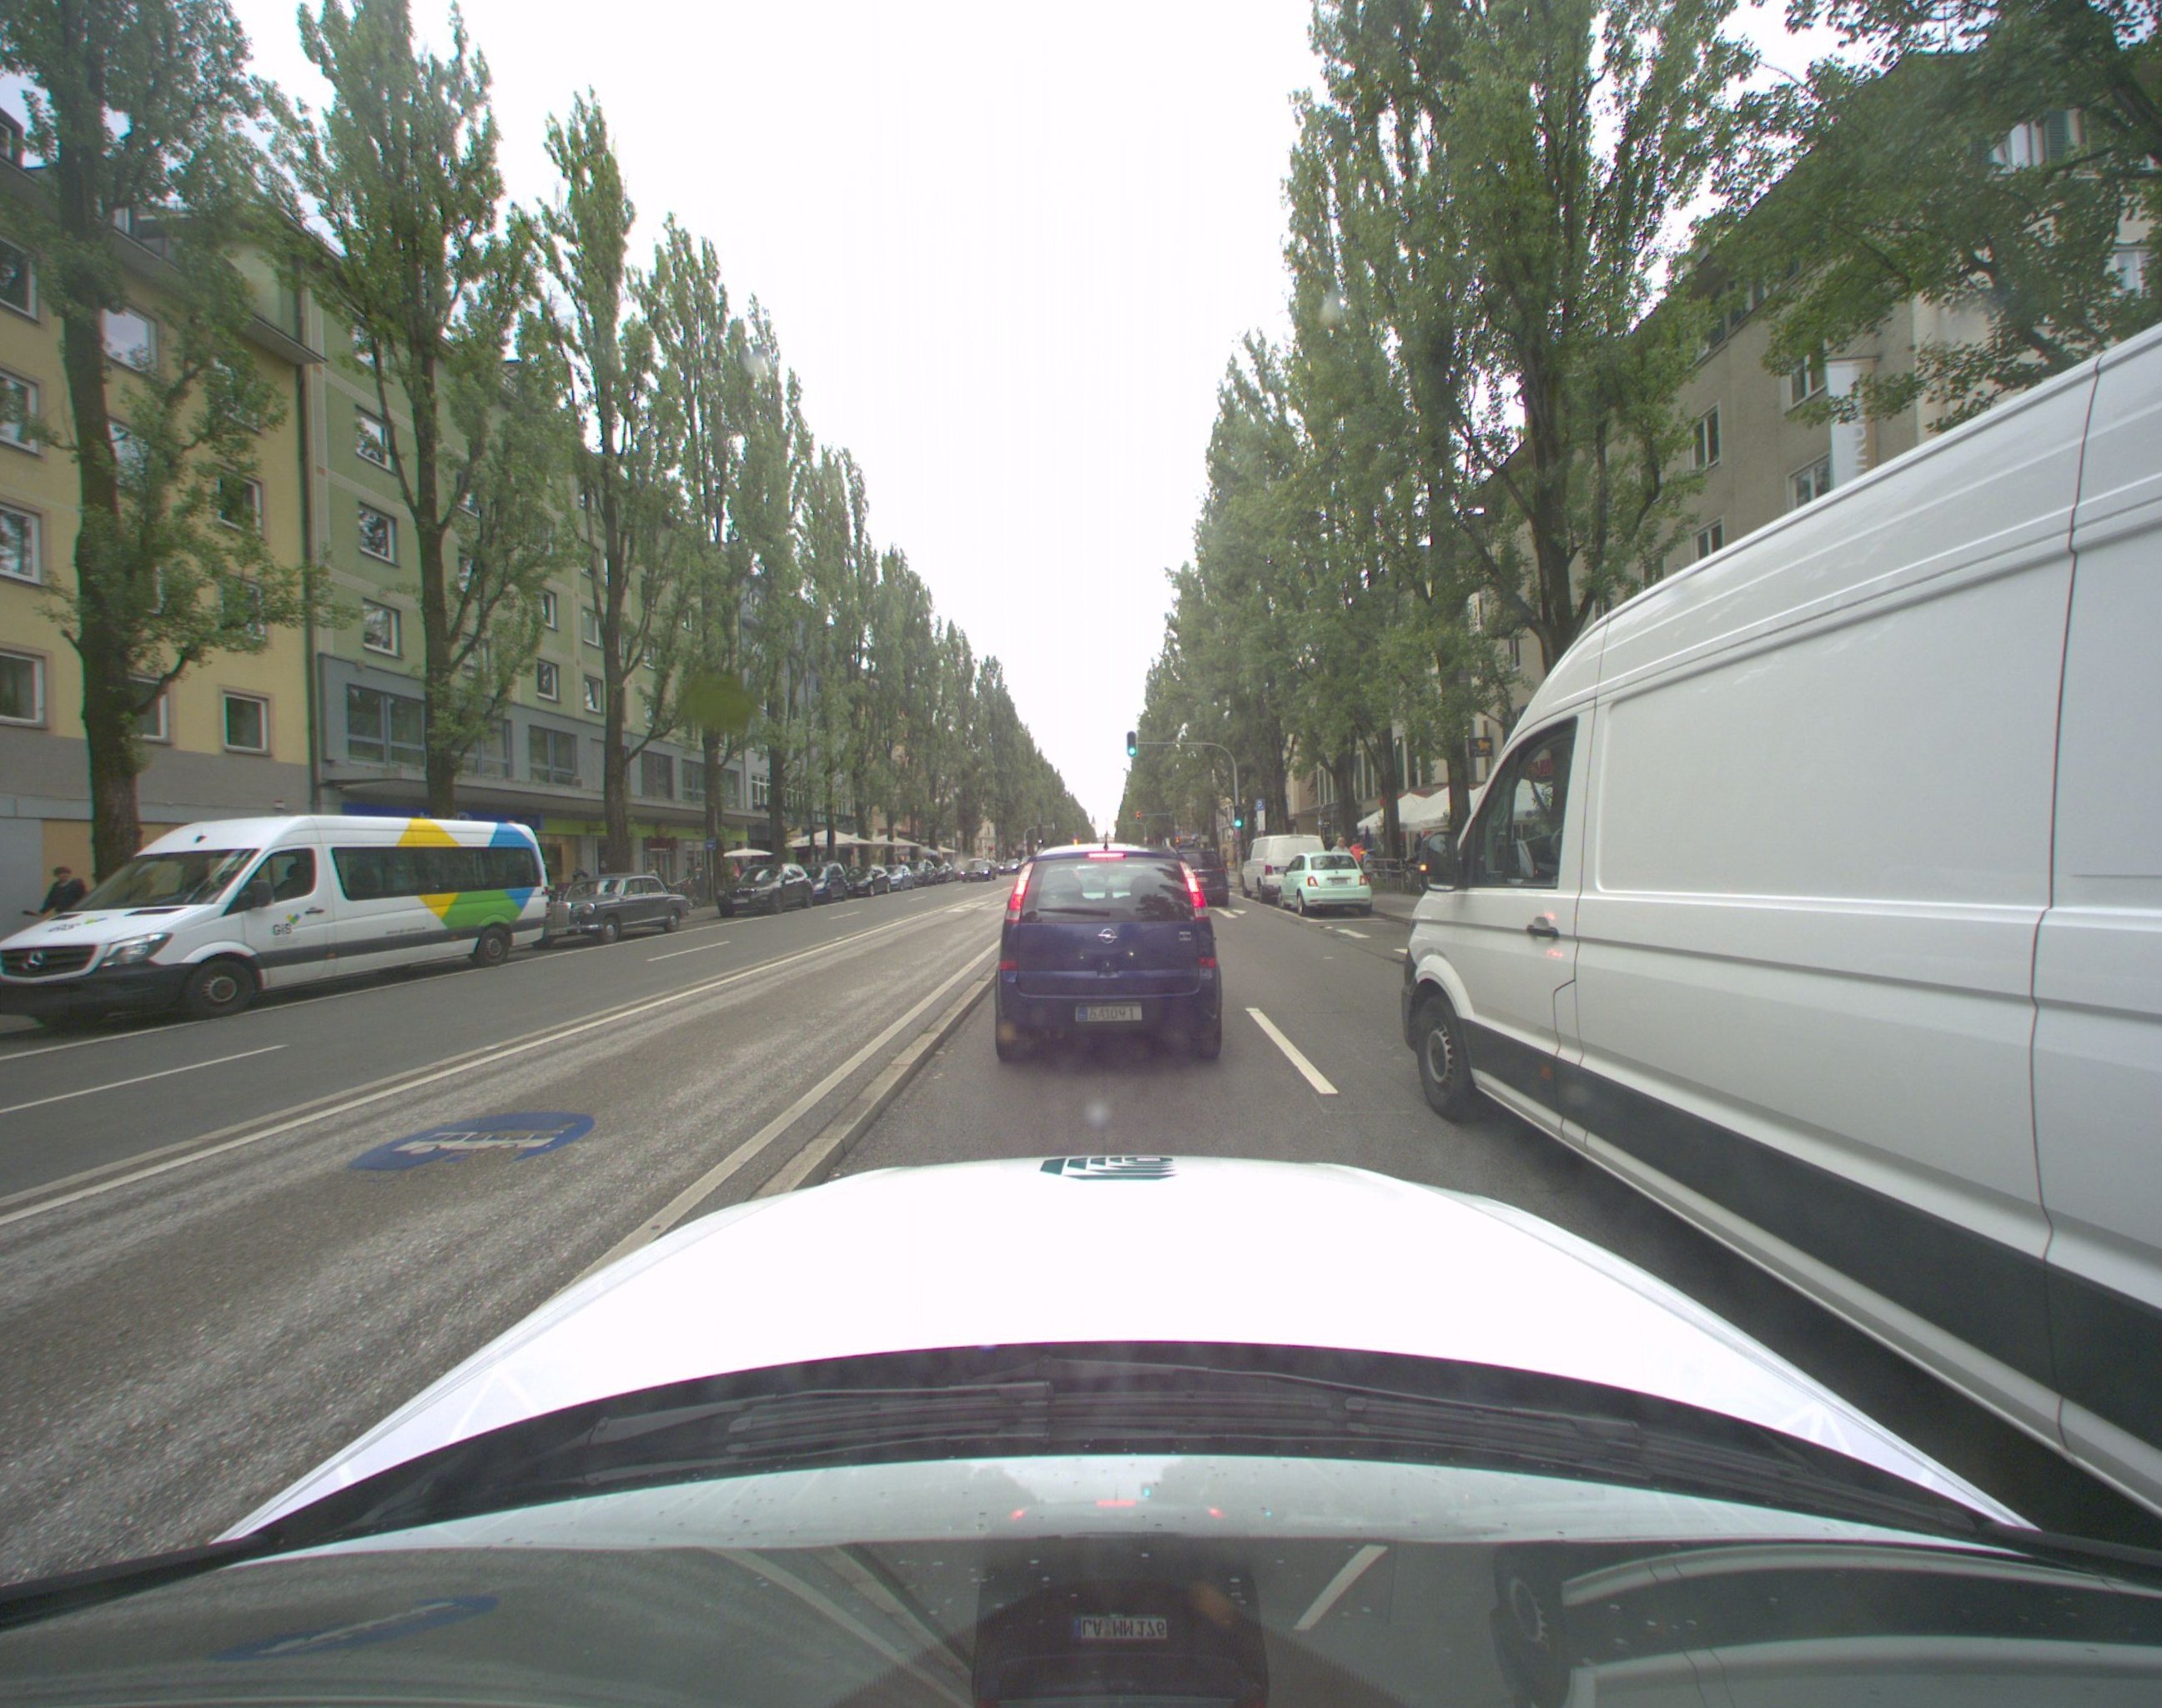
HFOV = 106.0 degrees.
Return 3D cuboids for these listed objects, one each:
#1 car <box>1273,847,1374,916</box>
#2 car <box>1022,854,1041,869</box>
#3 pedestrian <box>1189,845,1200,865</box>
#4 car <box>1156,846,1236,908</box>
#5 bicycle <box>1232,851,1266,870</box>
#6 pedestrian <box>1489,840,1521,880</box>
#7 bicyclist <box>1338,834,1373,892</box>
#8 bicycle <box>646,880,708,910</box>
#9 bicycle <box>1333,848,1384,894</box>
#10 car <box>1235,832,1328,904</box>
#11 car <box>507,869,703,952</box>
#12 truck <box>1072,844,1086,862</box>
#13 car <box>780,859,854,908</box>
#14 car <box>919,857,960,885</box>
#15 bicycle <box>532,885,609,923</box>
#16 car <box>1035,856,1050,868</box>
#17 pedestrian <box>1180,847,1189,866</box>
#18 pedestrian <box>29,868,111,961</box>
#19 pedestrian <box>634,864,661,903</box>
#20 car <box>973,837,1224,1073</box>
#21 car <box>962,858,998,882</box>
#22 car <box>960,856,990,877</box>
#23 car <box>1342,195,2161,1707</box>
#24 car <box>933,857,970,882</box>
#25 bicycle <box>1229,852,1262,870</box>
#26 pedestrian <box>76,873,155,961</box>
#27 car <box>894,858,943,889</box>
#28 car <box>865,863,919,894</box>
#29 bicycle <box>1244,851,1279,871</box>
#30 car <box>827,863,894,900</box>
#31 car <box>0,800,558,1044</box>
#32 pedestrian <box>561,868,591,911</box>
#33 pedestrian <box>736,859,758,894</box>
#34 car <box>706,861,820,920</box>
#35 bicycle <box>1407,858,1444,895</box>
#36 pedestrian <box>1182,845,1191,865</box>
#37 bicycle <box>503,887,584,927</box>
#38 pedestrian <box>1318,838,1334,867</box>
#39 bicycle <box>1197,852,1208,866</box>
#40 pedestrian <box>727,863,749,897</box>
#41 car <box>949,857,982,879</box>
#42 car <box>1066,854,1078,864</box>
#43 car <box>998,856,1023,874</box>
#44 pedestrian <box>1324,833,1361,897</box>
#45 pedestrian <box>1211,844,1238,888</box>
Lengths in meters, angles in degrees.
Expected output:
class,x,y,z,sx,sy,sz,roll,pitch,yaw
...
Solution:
class,x,y,z,sx,sy,sz,roll,pitch,yaw
car,5.801,0.620,19.884,1.535,1.492,3.525,-1,0,2
car,-5.607,0.829,92.126,1.764,1.635,4.456,-3,0,1
pedestrian,10.363,0.129,74.354,0.719,1.827,0.885,0,-1,-8
car,3.274,0.612,23.948,1.889,1.622,4.002,-1,0,2
bicycle,11.902,0.470,57.732,2.220,1.204,0.626,-3,0,-1
pedestrian,14.361,0.197,27.574,0.636,1.324,0.800,-2,0,1
bicyclist,8.668,0.276,25.727,0.764,1.766,0.885,-2,0,1
bicycle,-15.204,1.541,30.670,1.943,1.095,0.718,0,0,-5
bicycle,8.674,0.514,25.566,0.769,1.349,2.450,-2,0,1
car,6.014,0.381,24.959,1.781,1.946,4.732,-2,0,2
car,-11.081,1.242,19.412,1.859,1.552,4.416,-4,0,2
truck,-0.313,-0.230,155.312,2.374,3.346,7.114,-2,0,2
car,-10.657,1.144,33.142,1.704,1.721,3.920,-4,0,-1
car,-9.677,1.140,56.065,1.859,1.665,4.122,-4,0,2
bicycle,-15.261,1.490,24.367,1.860,1.095,0.720,0,0,4
car,-5.717,1.231,121.677,1.859,1.665,4.122,-2,0,2
pedestrian,9.991,0.199,78.571,0.636,1.827,0.885,0,-1,-8
pedestrian,-20.561,1.213,16.576,0.694,1.795,0.728,-3,0,6
pedestrian,-18.956,1.286,35.603,0.753,1.686,0.675,-3,-1,3
car,0.188,0.683,7.513,1.665,1.568,4.002,-1,0,2
car,-6.913,1.047,56.206,1.691,1.462,4.715,-4,0,2
car,-9.262,1.094,71.699,1.859,1.665,4.122,-4,0,2
car,2.743,0.215,2.279,2.055,2.492,6.733,-1,0,2
car,-9.641,1.136,60.913,1.859,1.665,4.122,-4,0,2
bicycle,11.921,0.475,59.111,2.220,1.204,0.626,-3,0,-1
pedestrian,-19.575,1.257,16.527,0.694,1.700,0.728,-3,0,6
car,-9.858,1.142,49.780,1.859,1.665,4.402,-4,0,2
car,-10.119,1.276,43.961,1.727,1.425,4.145,-4,0,2
bicycle,12.139,0.454,54.812,2.220,1.204,0.626,-3,0,-1
car,-10.329,1.235,38.479,1.792,1.488,4.352,-4,0,2
car,-11.301,0.750,12.314,1.998,2.567,6.915,-4,0,2
pedestrian,-20.171,1.416,32.533,0.670,1.686,0.759,-3,-1,3
pedestrian,-16.732,1.118,40.823,0.753,1.686,0.675,-3,-1,3
car,-10.663,1.164,27.716,1.859,1.664,4.613,-4,0,2
bicycle,9.854,0.629,23.361,0.348,0.996,1.453,-3,-1,-2
pedestrian,9.589,0.123,74.183,0.636,1.827,0.885,0,-1,-8
bicycle,-15.268,1.494,23.149,1.860,1.095,0.720,0,0,4
pedestrian,14.848,-0.090,49.349,0.671,1.686,0.758,-3,-1,-3
bicycle,12.188,0.502,81.486,0.769,1.349,2.450,-2,0,1
pedestrian,-17.653,1.325,41.867,0.753,1.686,0.675,-3,-1,3
car,-9.361,1.112,66.437,1.859,1.665,4.122,-4,0,2
car,-1.350,0.760,125.640,1.728,1.465,3.366,-2,0,2
car,-6.332,0.962,73.725,1.739,1.434,4.131,-4,0,2
pedestrian,7.521,0.315,23.444,0.823,1.773,0.872,-2,0,8
pedestrian,5.589,0.456,31.758,0.857,1.684,0.626,-2,0,-2
